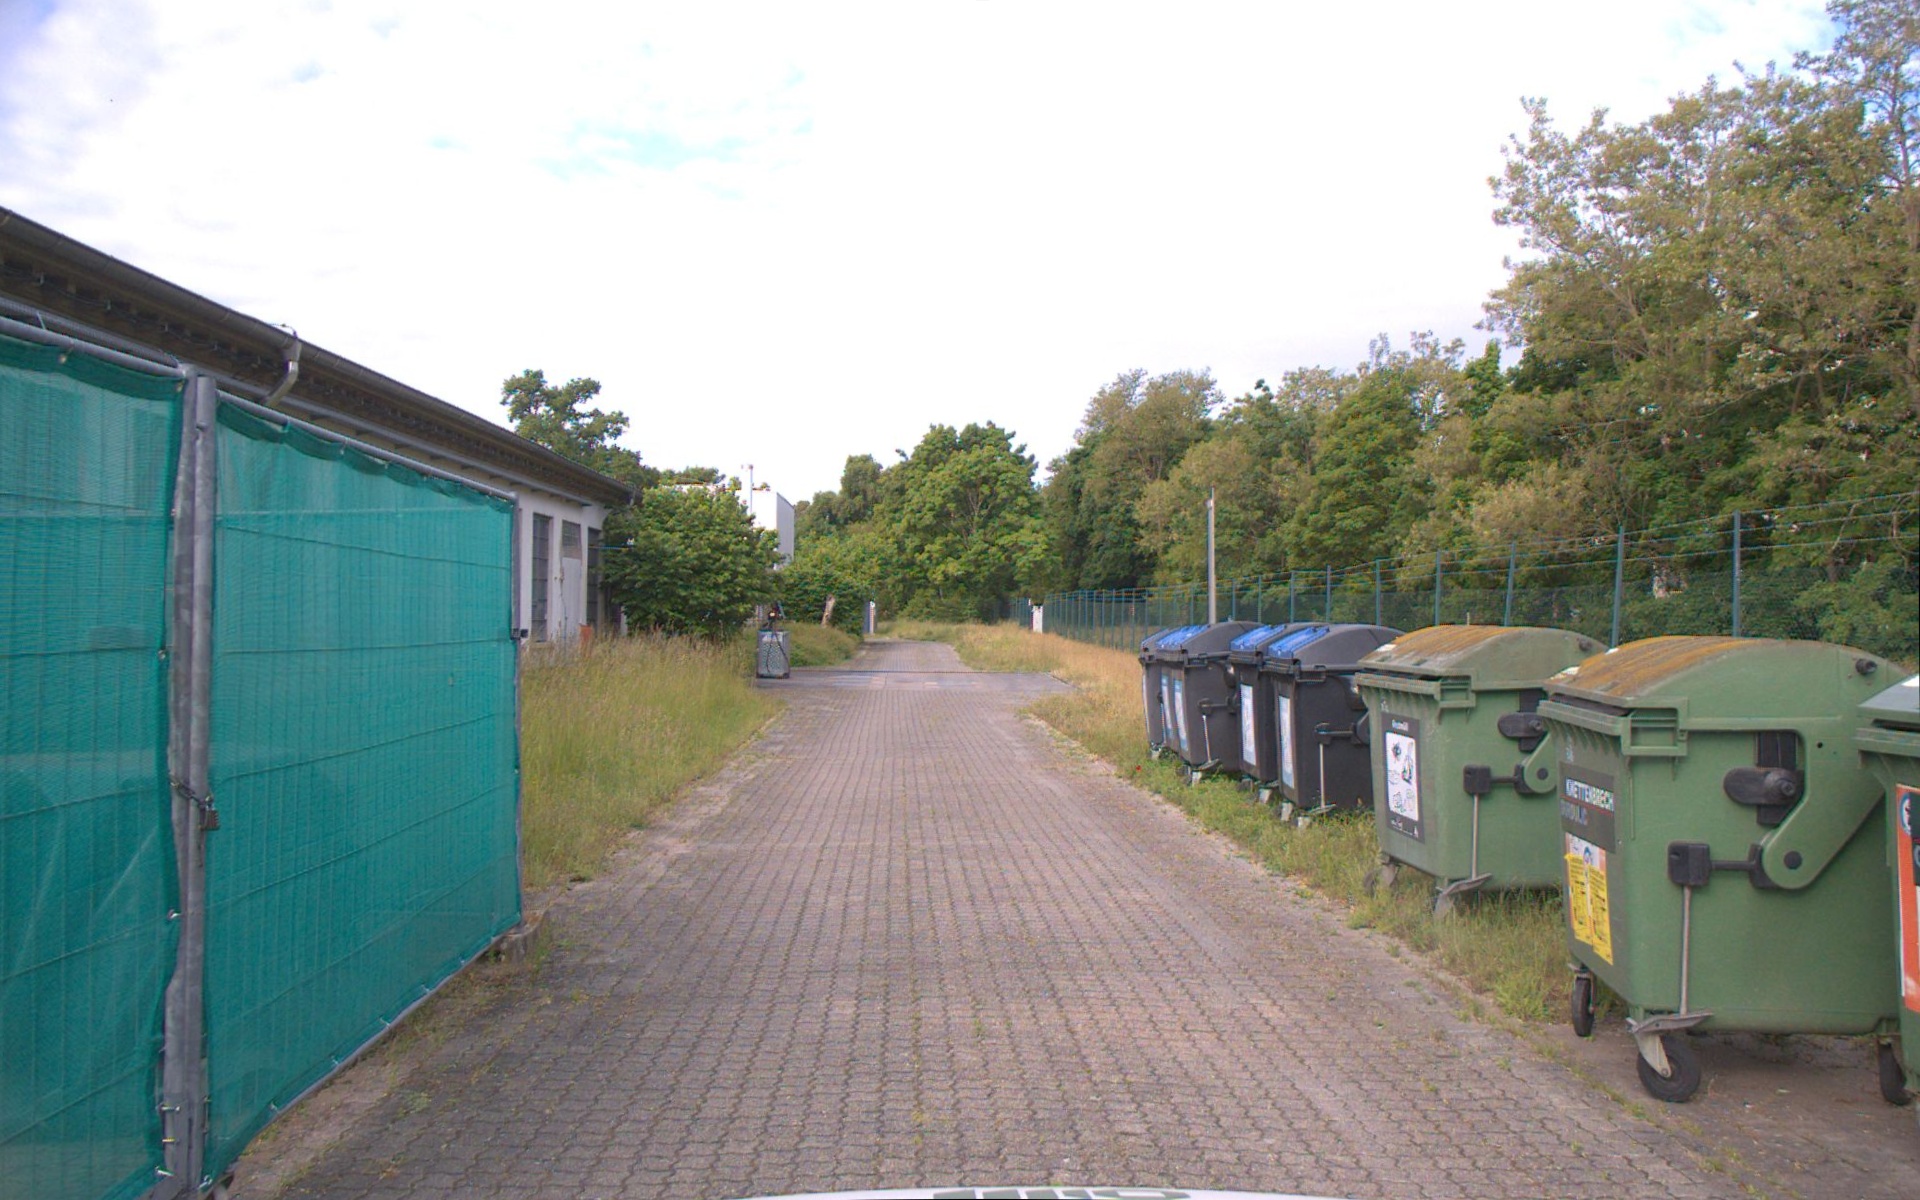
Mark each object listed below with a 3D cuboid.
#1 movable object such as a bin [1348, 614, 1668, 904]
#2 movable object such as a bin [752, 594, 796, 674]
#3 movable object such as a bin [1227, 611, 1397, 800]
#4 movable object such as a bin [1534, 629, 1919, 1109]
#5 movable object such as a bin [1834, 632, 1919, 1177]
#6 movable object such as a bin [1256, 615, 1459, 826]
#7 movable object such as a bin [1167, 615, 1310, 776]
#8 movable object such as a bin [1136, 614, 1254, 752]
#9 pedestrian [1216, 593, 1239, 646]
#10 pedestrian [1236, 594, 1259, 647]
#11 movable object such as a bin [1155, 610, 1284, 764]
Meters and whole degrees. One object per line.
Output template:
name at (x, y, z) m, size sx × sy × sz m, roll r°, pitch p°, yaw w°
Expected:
movable object such as a bin at (2.678, 0.742, 8.270) m, size 1.100 × 1.319 × 1.379 m, roll 1°, pitch -1°, yaw -3°
movable object such as a bin at (-4.720, 0.852, 41.993) m, size 0.915 × 2.017 × 0.854 m, roll 0°, pitch -1°, yaw 6°
movable object such as a bin at (2.739, 0.796, 13.060) m, size 1.099 × 1.398 × 1.494 m, roll 0°, pitch -1°, yaw 3°
movable object such as a bin at (2.675, 0.816, 5.673) m, size 1.099 × 1.423 × 1.386 m, roll 0°, pitch -1°, yaw 8°
movable object such as a bin at (3.049, 0.802, 4.100) m, size 1.047 × 1.430 × 1.385 m, roll 1°, pitch -1°, yaw 1°
movable object such as a bin at (2.712, 0.792, 11.477) m, size 1.130 × 1.348 × 1.494 m, roll 0°, pitch -1°, yaw 3°
movable object such as a bin at (2.421, 0.807, 14.552) m, size 1.099 × 1.344 × 1.326 m, roll 0°, pitch 0°, yaw 4°
movable object such as a bin at (2.426, 0.841, 17.265) m, size 1.099 × 1.374 × 1.426 m, roll 0°, pitch -1°, yaw 3°
pedestrian at (10.544, 0.770, 65.154) m, size 0.744 × 2.049 × 0.663 m, roll 0°, pitch -1°, yaw -3°
pedestrian at (11.310, 0.800, 65.016) m, size 0.744 × 2.049 × 0.663 m, roll 0°, pitch -1°, yaw -3°
movable object such as a bin at (2.458, 0.810, 15.856) m, size 1.099 × 1.403 × 1.325 m, roll 0°, pitch -1°, yaw 3°
